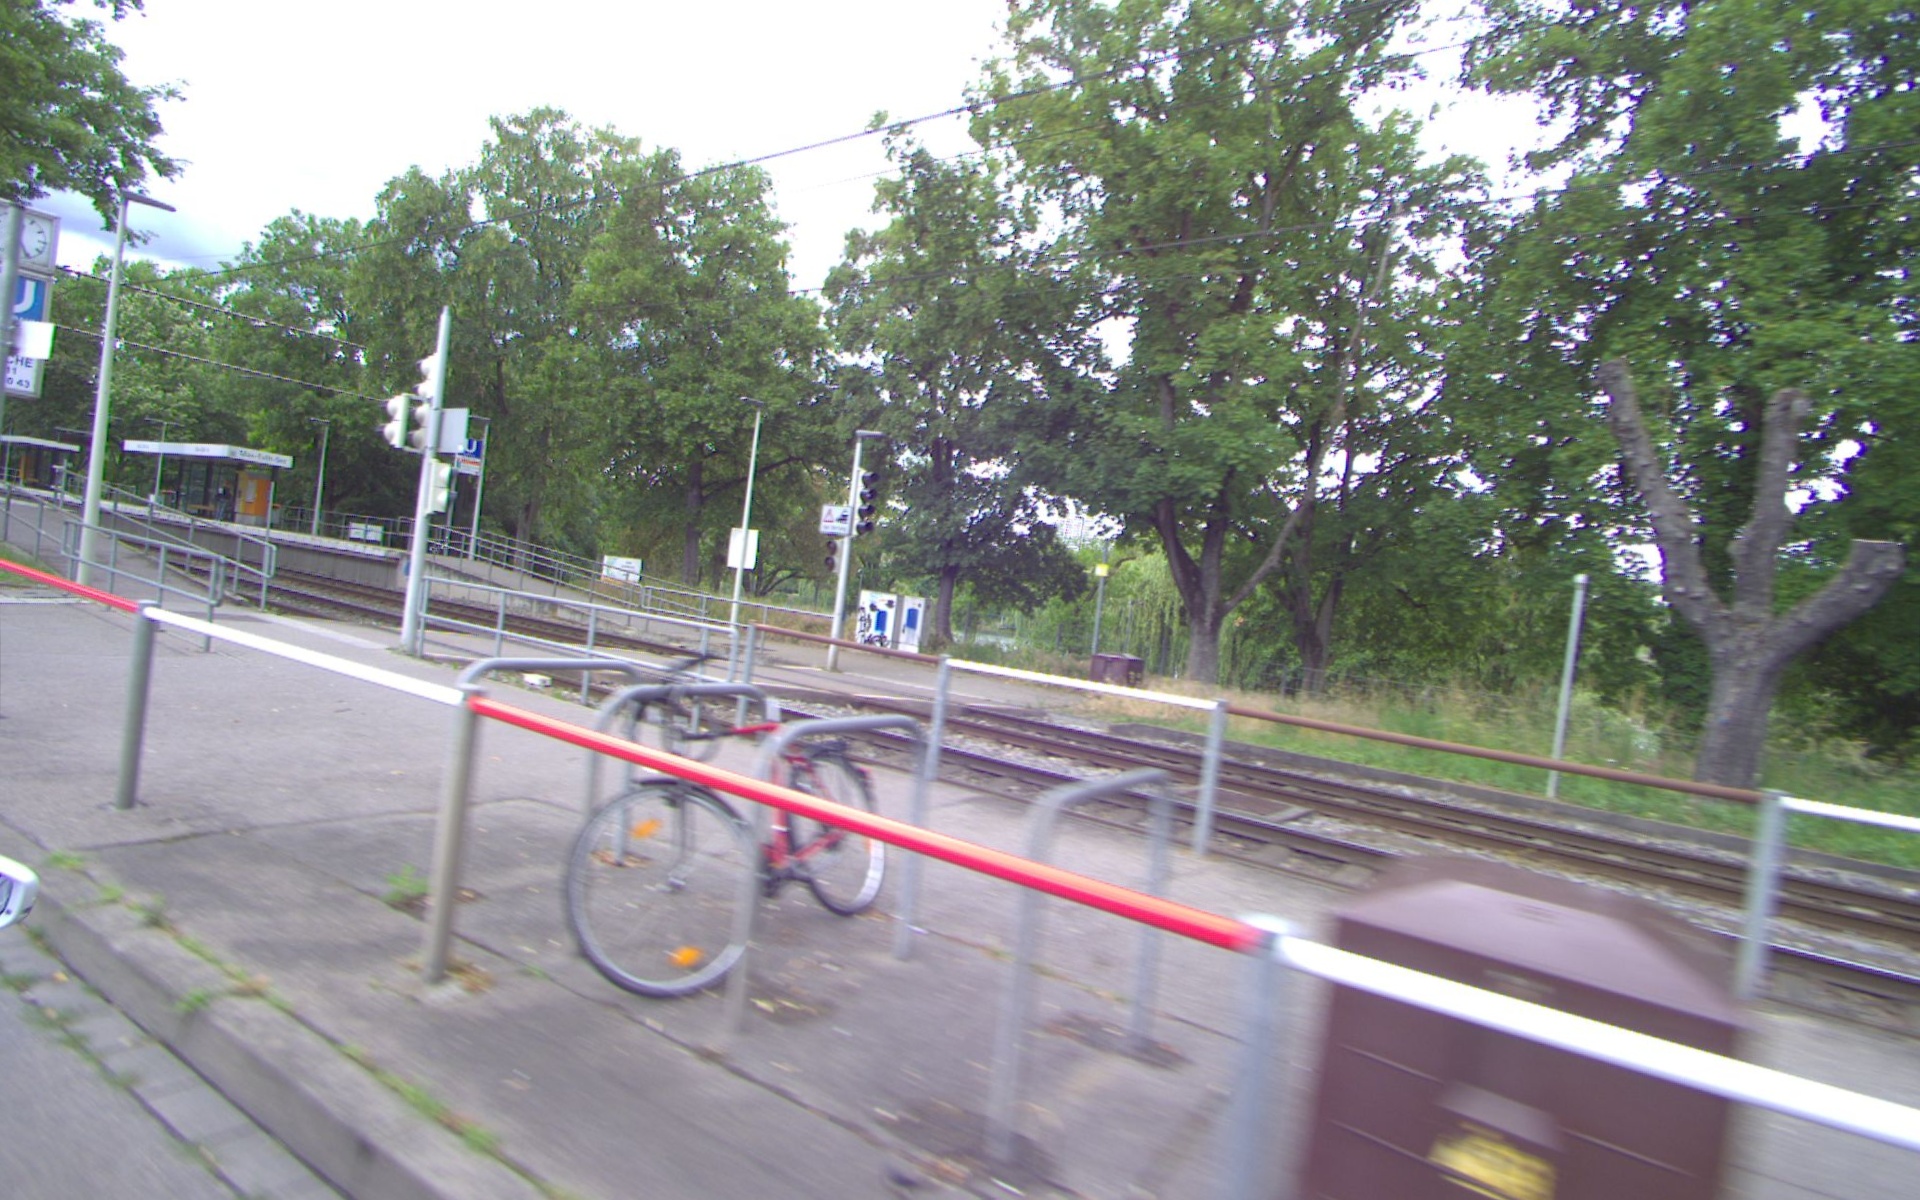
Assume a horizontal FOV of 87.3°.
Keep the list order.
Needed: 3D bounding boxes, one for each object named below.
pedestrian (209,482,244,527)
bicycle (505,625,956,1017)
[{"bbox_3d":[-27.525,-3.586,37.754,0.713,1.528,0.718,7,-1,38],"label":"pedestrian"},{"bbox_3d":[-0.757,0.685,3.831,0.592,1.104,1.674,7,2,32],"label":"bicycle"}]
